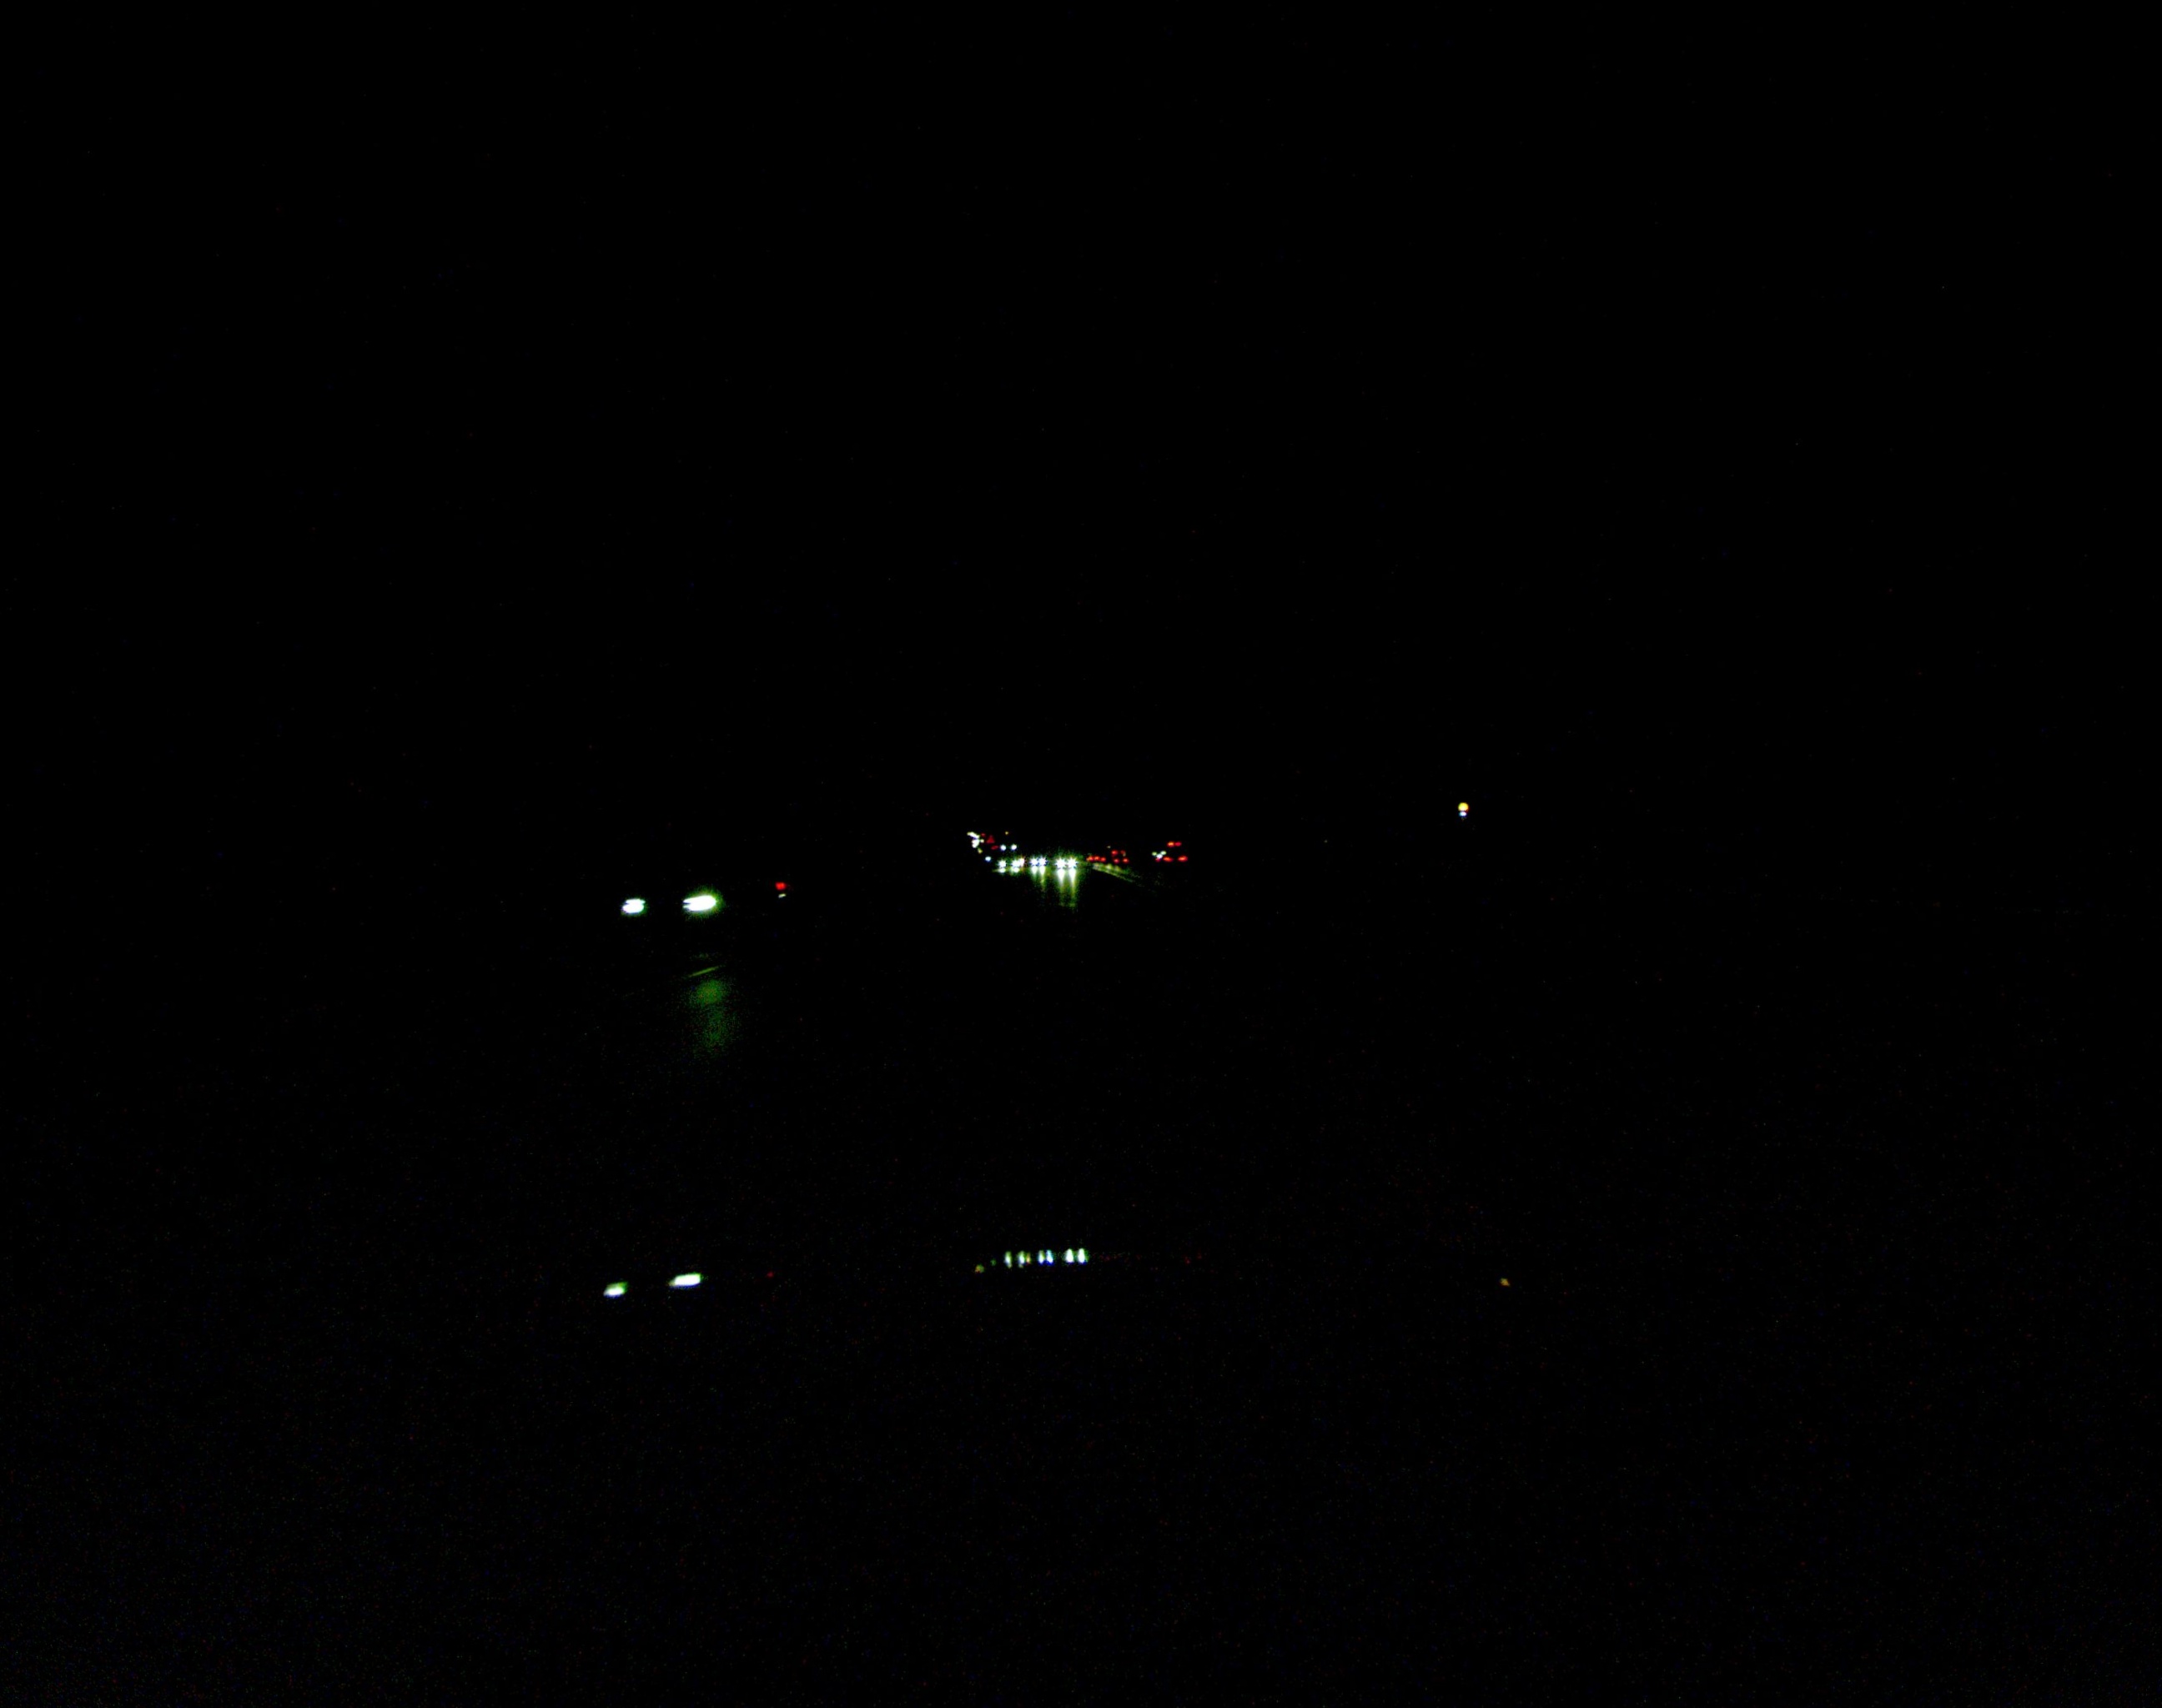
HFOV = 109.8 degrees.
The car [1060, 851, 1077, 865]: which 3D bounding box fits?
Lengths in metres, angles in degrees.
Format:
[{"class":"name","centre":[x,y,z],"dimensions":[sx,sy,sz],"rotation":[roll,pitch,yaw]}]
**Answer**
[{"class":"car","centre":[-1.502,0.484,92.618],"dimensions":[2.012,1.652,3.999],"rotation":[-2,1,-1]}]

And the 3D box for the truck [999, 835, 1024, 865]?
[{"class":"truck","centre":[-10.833,-0.682,119.172],"dimensions":[3.347,4.408,6.990],"rotation":[-3,1,-3]}]

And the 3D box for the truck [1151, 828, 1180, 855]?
[{"class":"truck","centre":[13.410,-1.959,120.936],"dimensions":[3.446,3.983,6.773],"rotation":[-3,1,-2]}]

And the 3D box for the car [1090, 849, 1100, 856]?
[{"class":"car","centre":[3.162,-0.326,173.074],"dimensions":[2.071,1.613,4.694],"rotation":[-2,0,-1]}]

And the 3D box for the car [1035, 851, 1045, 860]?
[{"class":"car","centre":[-7.696,0.319,142.108],"dimensions":[1.940,1.608,3.998],"rotation":[-2,1,-4]}]

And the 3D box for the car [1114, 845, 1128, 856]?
[{"class":"car","centre":[8.043,-0.691,153.493],"dimensions":[2.058,2.185,6.964],"rotation":[-2,0,-2]}]

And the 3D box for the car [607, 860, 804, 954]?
[{"class":"car","centre":[-8.266,1.048,17.418],"dimensions":[1.999,1.708,5.166],"rotation":[-2,0,-2]}]

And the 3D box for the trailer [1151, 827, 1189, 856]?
[{"class":"trailer","centre":[13.556,-1.921,116.951],"dimensions":[3.446,3.983,14.755],"rotation":[-3,1,-2]}]

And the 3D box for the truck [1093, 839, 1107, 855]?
[{"class":"truck","centre":[5.579,-2.014,223.633],"dimensions":[3.059,4.413,10.420],"rotation":[-2,0,-3]}]
